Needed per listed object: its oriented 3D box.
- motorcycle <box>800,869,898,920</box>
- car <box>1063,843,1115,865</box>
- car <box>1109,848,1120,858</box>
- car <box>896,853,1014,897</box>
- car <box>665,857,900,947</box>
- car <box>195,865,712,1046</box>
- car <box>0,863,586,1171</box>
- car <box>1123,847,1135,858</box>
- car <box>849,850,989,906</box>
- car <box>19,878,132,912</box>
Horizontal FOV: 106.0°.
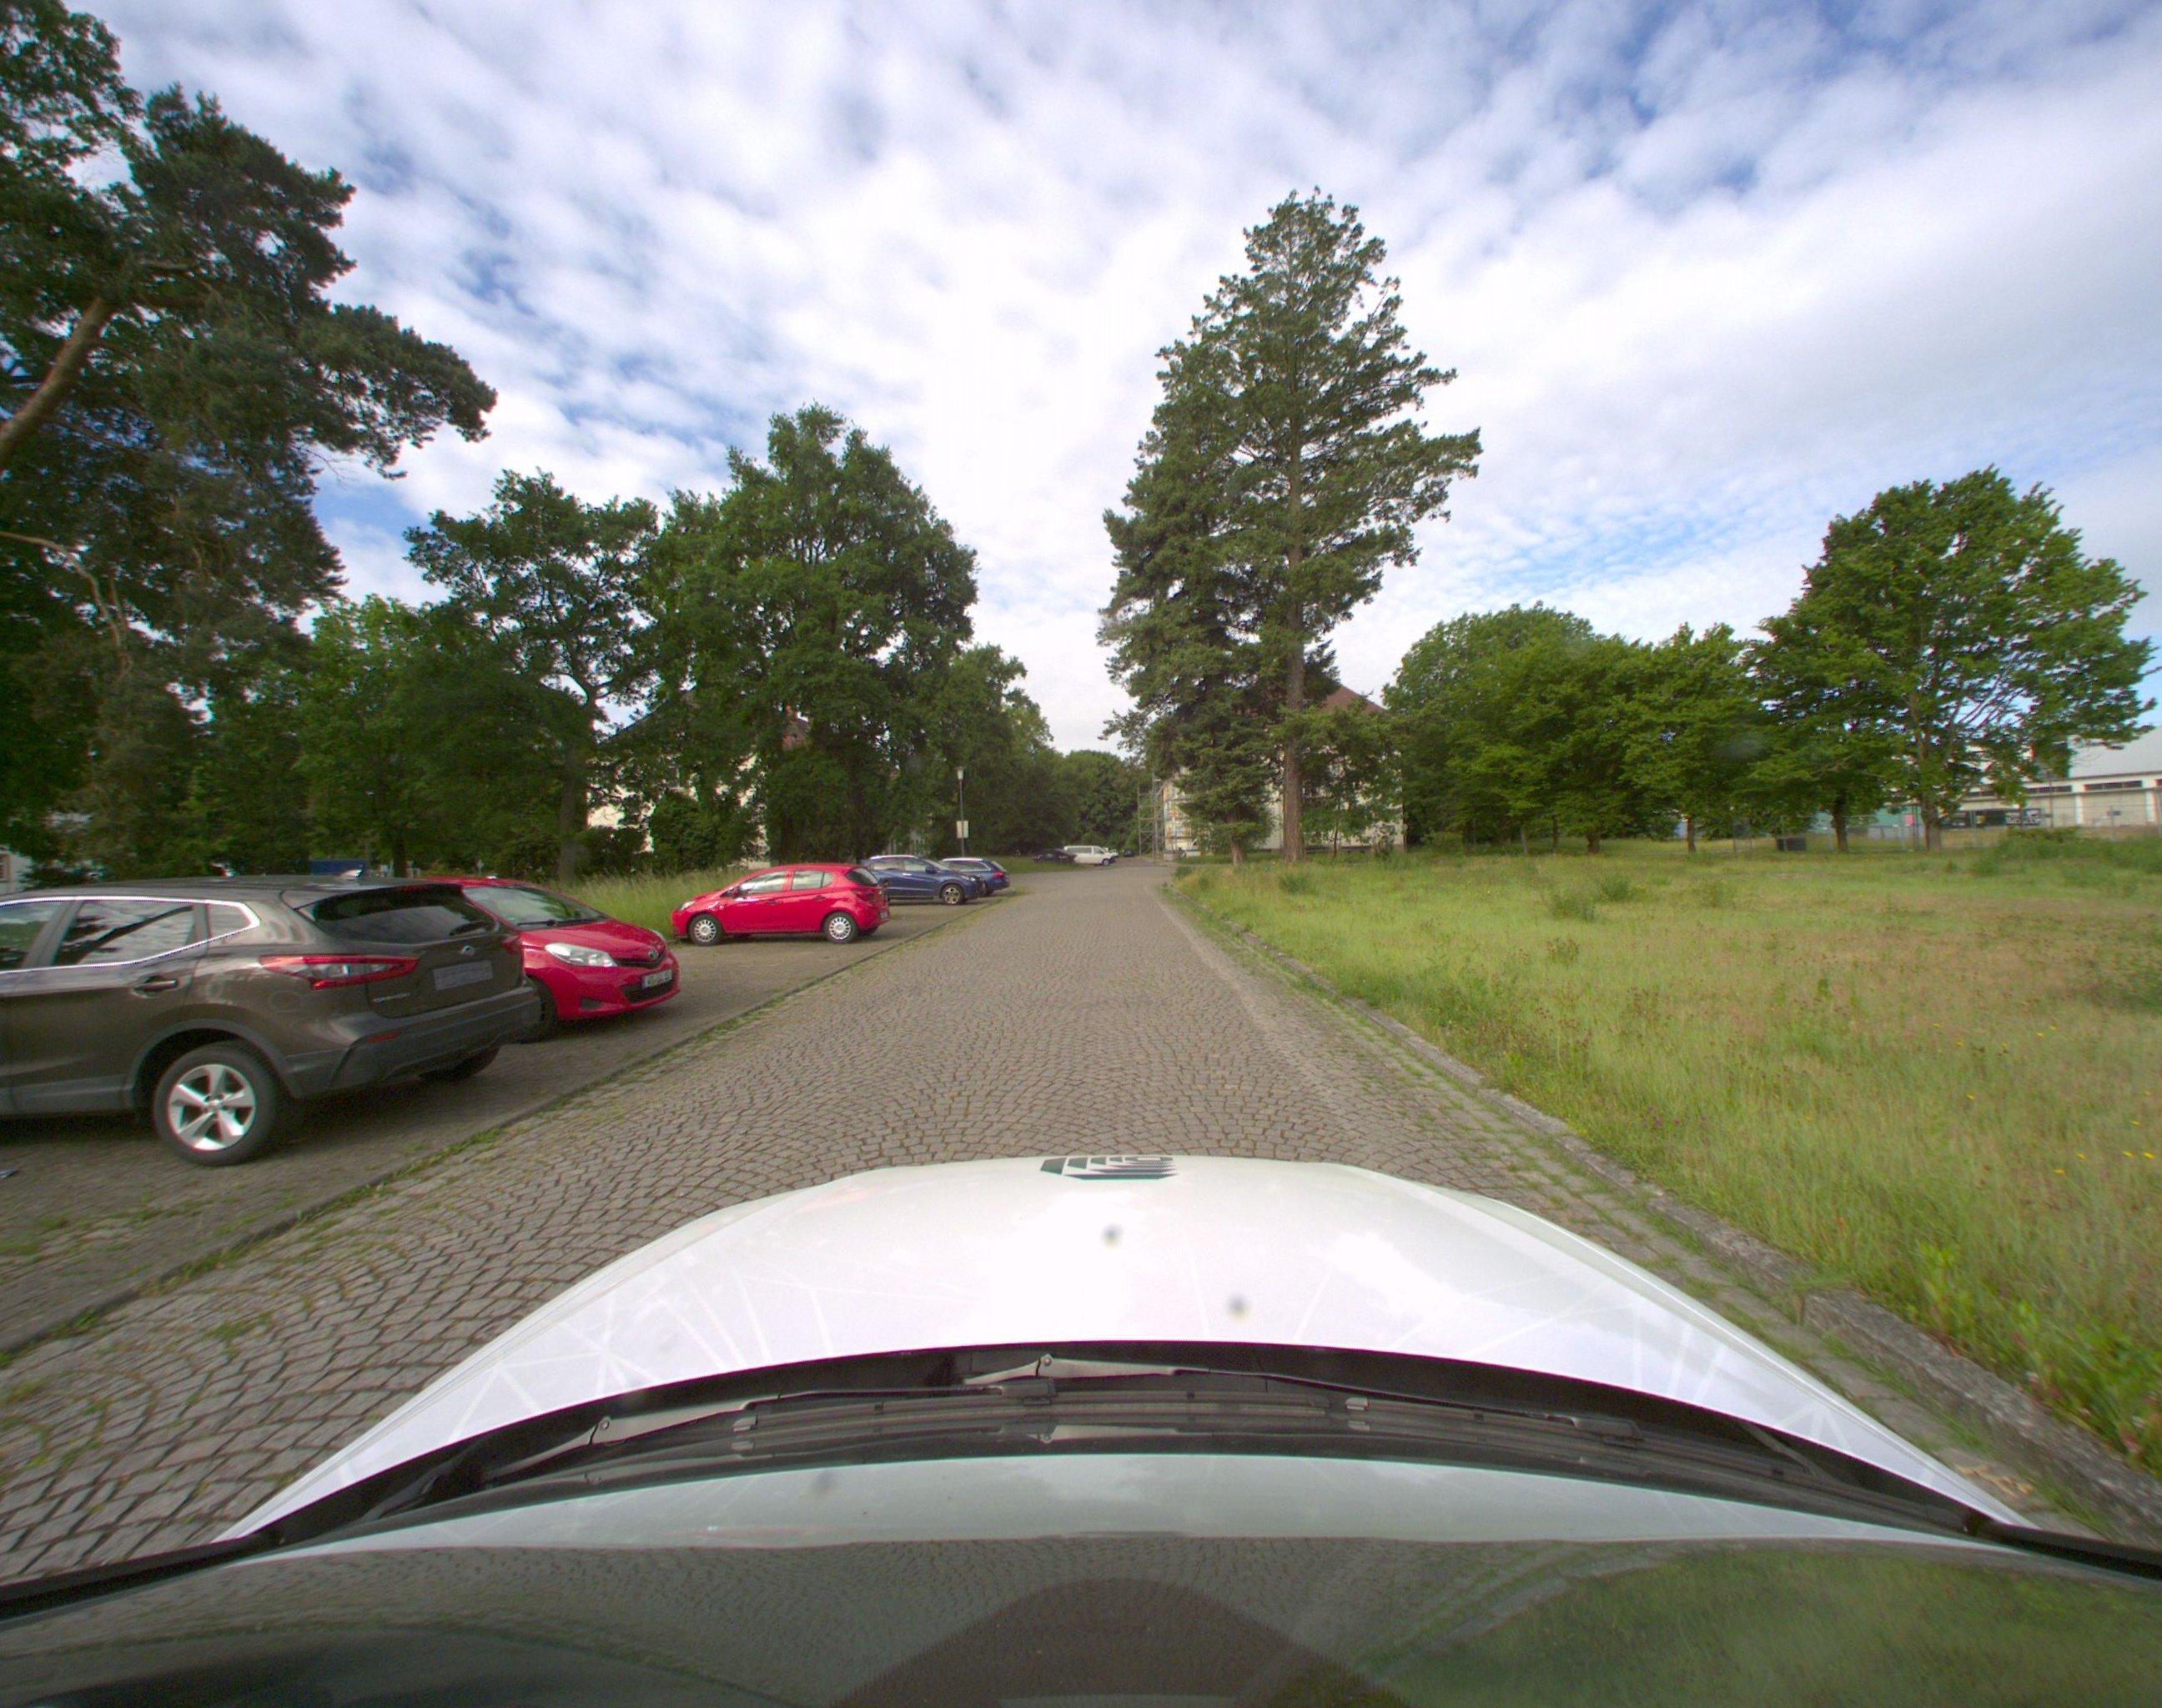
[{"bbox_3d":[-5.776,0.998,20.294,2.216,1.159,0.648,-2,0,4],"label":"motorcycle"},{"bbox_3d":[0.819,0.012,79.528,4.961,2.072,2.052,-1,-1,0],"label":"car"},{"bbox_3d":[5.971,-0.128,145.492,1.784,1.636,4.061,-2,-1,1],"label":"car"},{"bbox_3d":[-4.704,0.780,30.657,4.051,1.467,1.628,-2,0,5],"label":"car"},{"bbox_3d":[-5.636,0.879,15.722,3.802,1.489,1.788,-2,0,1],"label":"car"},{"bbox_3d":[-6.049,0.932,8.198,3.801,1.486,1.762,-2,0,1],"label":"car"},{"bbox_3d":[-5.947,0.930,5.406,4.054,1.575,1.955,-2,0,0],"label":"car"},{"bbox_3d":[8.593,-0.270,145.746,1.784,1.720,4.061,-2,-1,1],"label":"car"},{"bbox_3d":[-5.086,0.740,25.966,4.058,1.604,1.788,-2,0,0],"label":"car"},{"bbox_3d":[-67.205,2.704,54.571,2.054,2.095,4.347,-3,-1,2],"label":"car"}]
